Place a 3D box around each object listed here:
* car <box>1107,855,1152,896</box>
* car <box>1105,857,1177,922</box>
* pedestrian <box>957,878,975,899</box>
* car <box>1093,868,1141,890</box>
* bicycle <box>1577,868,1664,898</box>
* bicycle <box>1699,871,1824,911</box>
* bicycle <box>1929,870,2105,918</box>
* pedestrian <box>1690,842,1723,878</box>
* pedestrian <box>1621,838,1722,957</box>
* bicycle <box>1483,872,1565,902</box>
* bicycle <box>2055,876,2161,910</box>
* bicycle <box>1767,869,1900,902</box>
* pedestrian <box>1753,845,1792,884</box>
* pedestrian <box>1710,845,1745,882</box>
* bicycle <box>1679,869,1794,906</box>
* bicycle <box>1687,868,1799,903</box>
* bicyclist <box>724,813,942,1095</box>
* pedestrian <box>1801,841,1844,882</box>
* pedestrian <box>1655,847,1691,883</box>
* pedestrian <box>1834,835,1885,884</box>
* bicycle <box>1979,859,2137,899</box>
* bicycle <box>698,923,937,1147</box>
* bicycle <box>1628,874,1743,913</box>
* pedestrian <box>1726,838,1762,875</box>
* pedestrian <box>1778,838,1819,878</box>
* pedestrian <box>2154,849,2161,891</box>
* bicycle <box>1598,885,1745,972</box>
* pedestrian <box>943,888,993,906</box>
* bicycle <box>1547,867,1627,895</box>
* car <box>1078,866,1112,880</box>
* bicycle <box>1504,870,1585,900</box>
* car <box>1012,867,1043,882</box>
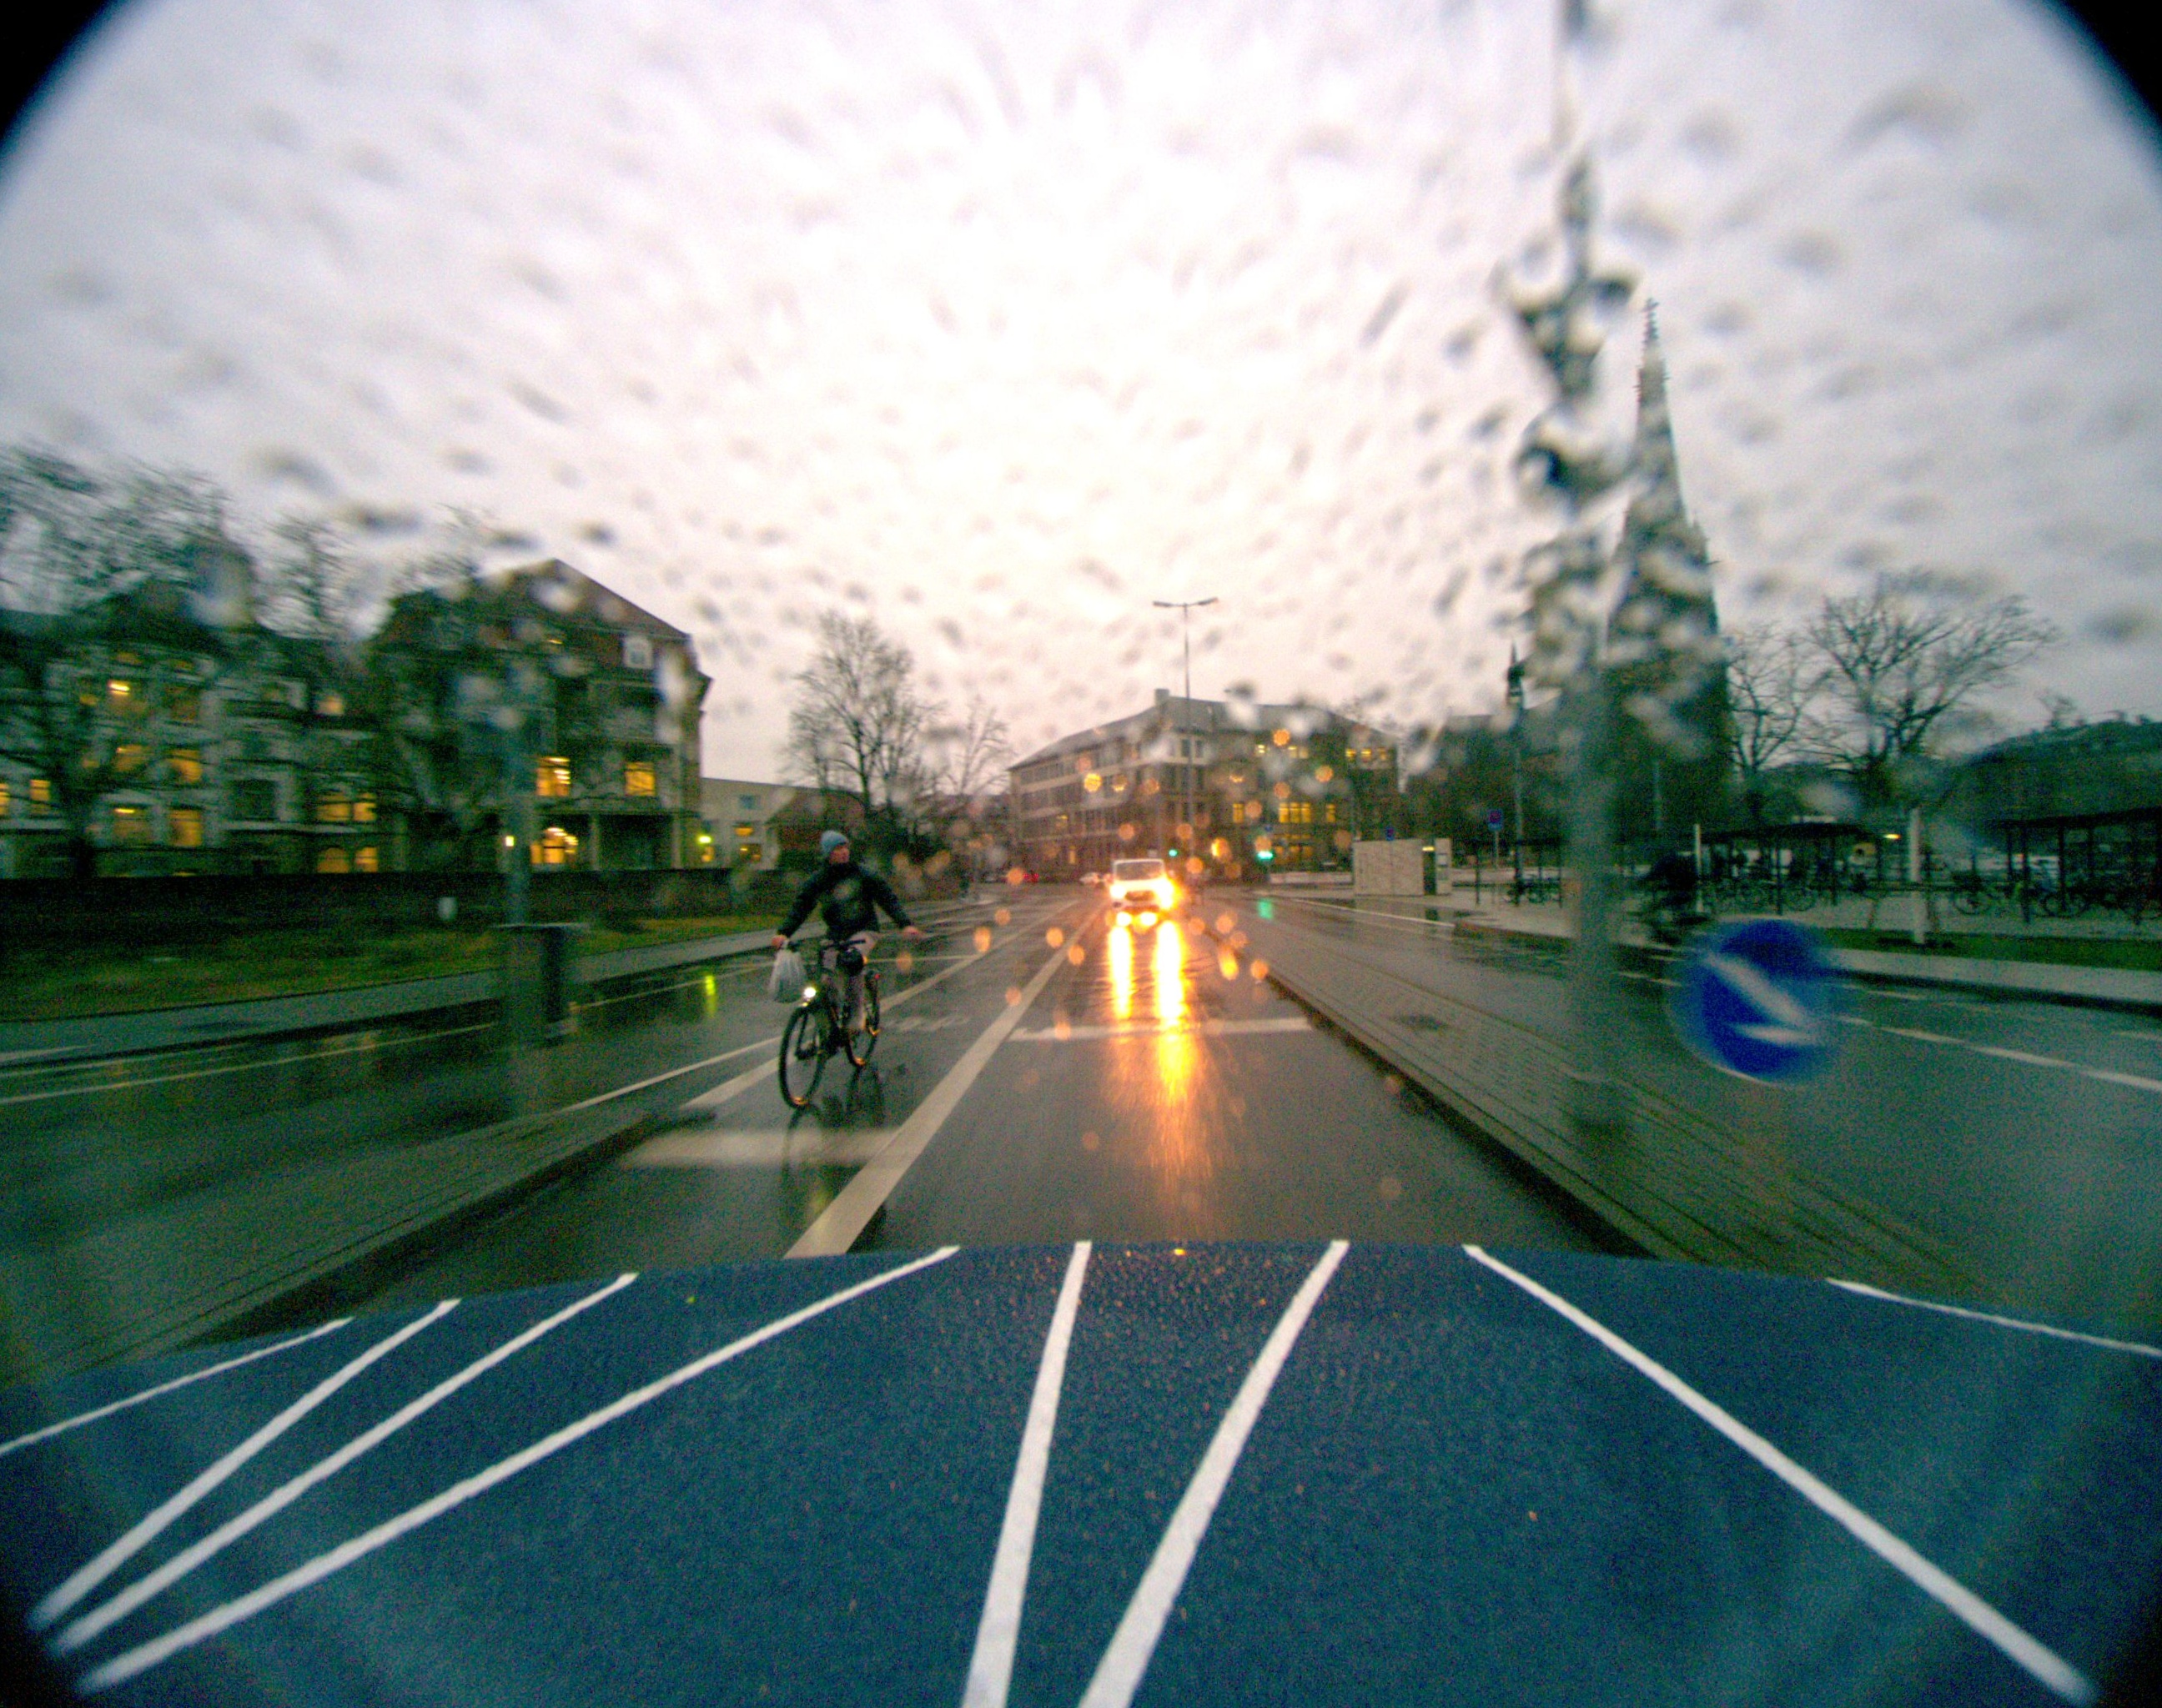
[{"bbox_3d":[3.230,1.417,51.930,2.347,2.502,5.867,-4,-1,-2],"label":"car"},{"bbox_3d":[2.025,1.168,26.300,2.136,1.909,5.019,-3,-1,4],"label":"car"},{"bbox_3d":[-7.609,2.281,50.304,0.984,1.309,0.813,0,-1,-26],"label":"pedestrian"},{"bbox_3d":[2.850,2.036,60.943,1.791,1.535,4.110,-2,-2,-31],"label":"car"},{"bbox_3d":[21.228,1.170,30.006,0.648,1.098,2.746,-3,-1,-28],"label":"bicycle"},{"bbox_3d":[20.716,1.140,23.231,0.648,1.098,2.746,-3,-1,-28],"label":"bicycle"},{"bbox_3d":[23.618,0.999,19.258,0.609,1.098,2.744,-3,0,-35],"label":"bicycle"},{"bbox_3d":[33.051,0.320,40.154,1.034,1.839,0.848,-1,-1,3],"label":"pedestrian"},{"bbox_3d":[8.958,0.643,11.566,0.717,1.723,0.981,0,-1,-8],"label":"pedestrian"},{"bbox_3d":[17.150,1.299,29.519,0.648,1.098,2.746,-3,-1,-28],"label":"bicycle"},{"bbox_3d":[27.014,1.000,19.841,0.608,0.866,1.860,0,-1,-32],"label":"bicycle"},{"bbox_3d":[26.072,1.070,26.431,0.796,1.043,3.187,-1,-1,-32],"label":"bicycle"},{"bbox_3d":[34.373,0.538,37.782,1.034,1.839,0.848,-4,-1,3],"label":"pedestrian"},{"bbox_3d":[33.356,0.489,39.231,1.034,1.839,0.848,-1,-1,3],"label":"pedestrian"},{"bbox_3d":[21.513,1.126,25.013,0.648,1.098,2.744,-3,-1,-37],"label":"bicycle"},{"bbox_3d":[22.138,1.058,25.482,0.648,1.098,2.744,-3,0,-37],"label":"bicycle"},{"bbox_3d":[-1.787,0.669,5.714,1.025,1.872,1.236,-2,1,10],"label":"bicyclist"},{"bbox_3d":[34.781,0.359,35.659,1.034,1.839,0.848,-4,-1,3],"label":"pedestrian"},{"bbox_3d":[31.627,0.602,40.593,1.049,1.838,0.849,-6,-1,3],"label":"pedestrian"},{"bbox_3d":[27.592,0.182,26.941,0.815,1.671,0.848,-5,1,3],"label":"pedestrian"},{"bbox_3d":[28.865,0.765,22.534,0.648,1.098,2.746,-3,-1,-28],"label":"bicycle"},{"bbox_3d":[-1.879,1.240,5.812,0.793,1.216,1.905,-2,1,13],"label":"bicycle"},{"bbox_3d":[18.925,1.245,23.878,0.648,1.098,2.746,-3,-1,-28],"label":"bicycle"},{"bbox_3d":[33.369,0.144,38.260,1.034,1.839,0.803,-1,-1,3],"label":"pedestrian"},{"bbox_3d":[34.685,0.208,36.760,1.034,1.839,0.848,-4,-1,3],"label":"pedestrian"},{"bbox_3d":[47.674,0.689,32.993,0.947,1.820,0.809,-1,1,3],"label":"pedestrian"},{"bbox_3d":[8.936,1.089,11.608,0.624,1.169,1.872,0,-1,-8],"label":"bicycle"},{"bbox_3d":[-7.473,2.833,50.325,3.103,0.924,0.947,-3,-1,-26],"label":"pedestrian"},{"bbox_3d":[21.386,1.177,32.179,0.648,1.098,2.745,-3,-1,-31],"label":"bicycle"},{"bbox_3d":[1.658,2.231,89.713,1.892,1.521,3.990,-1,-1,-36],"label":"car"},{"bbox_3d":[18.243,1.237,30.000,0.648,1.098,2.746,-3,-1,-28],"label":"bicycle"},{"bbox_3d":[-7.282,2.765,103.020,2.145,1.999,4.560,0,-1,-35],"label":"car"}]
